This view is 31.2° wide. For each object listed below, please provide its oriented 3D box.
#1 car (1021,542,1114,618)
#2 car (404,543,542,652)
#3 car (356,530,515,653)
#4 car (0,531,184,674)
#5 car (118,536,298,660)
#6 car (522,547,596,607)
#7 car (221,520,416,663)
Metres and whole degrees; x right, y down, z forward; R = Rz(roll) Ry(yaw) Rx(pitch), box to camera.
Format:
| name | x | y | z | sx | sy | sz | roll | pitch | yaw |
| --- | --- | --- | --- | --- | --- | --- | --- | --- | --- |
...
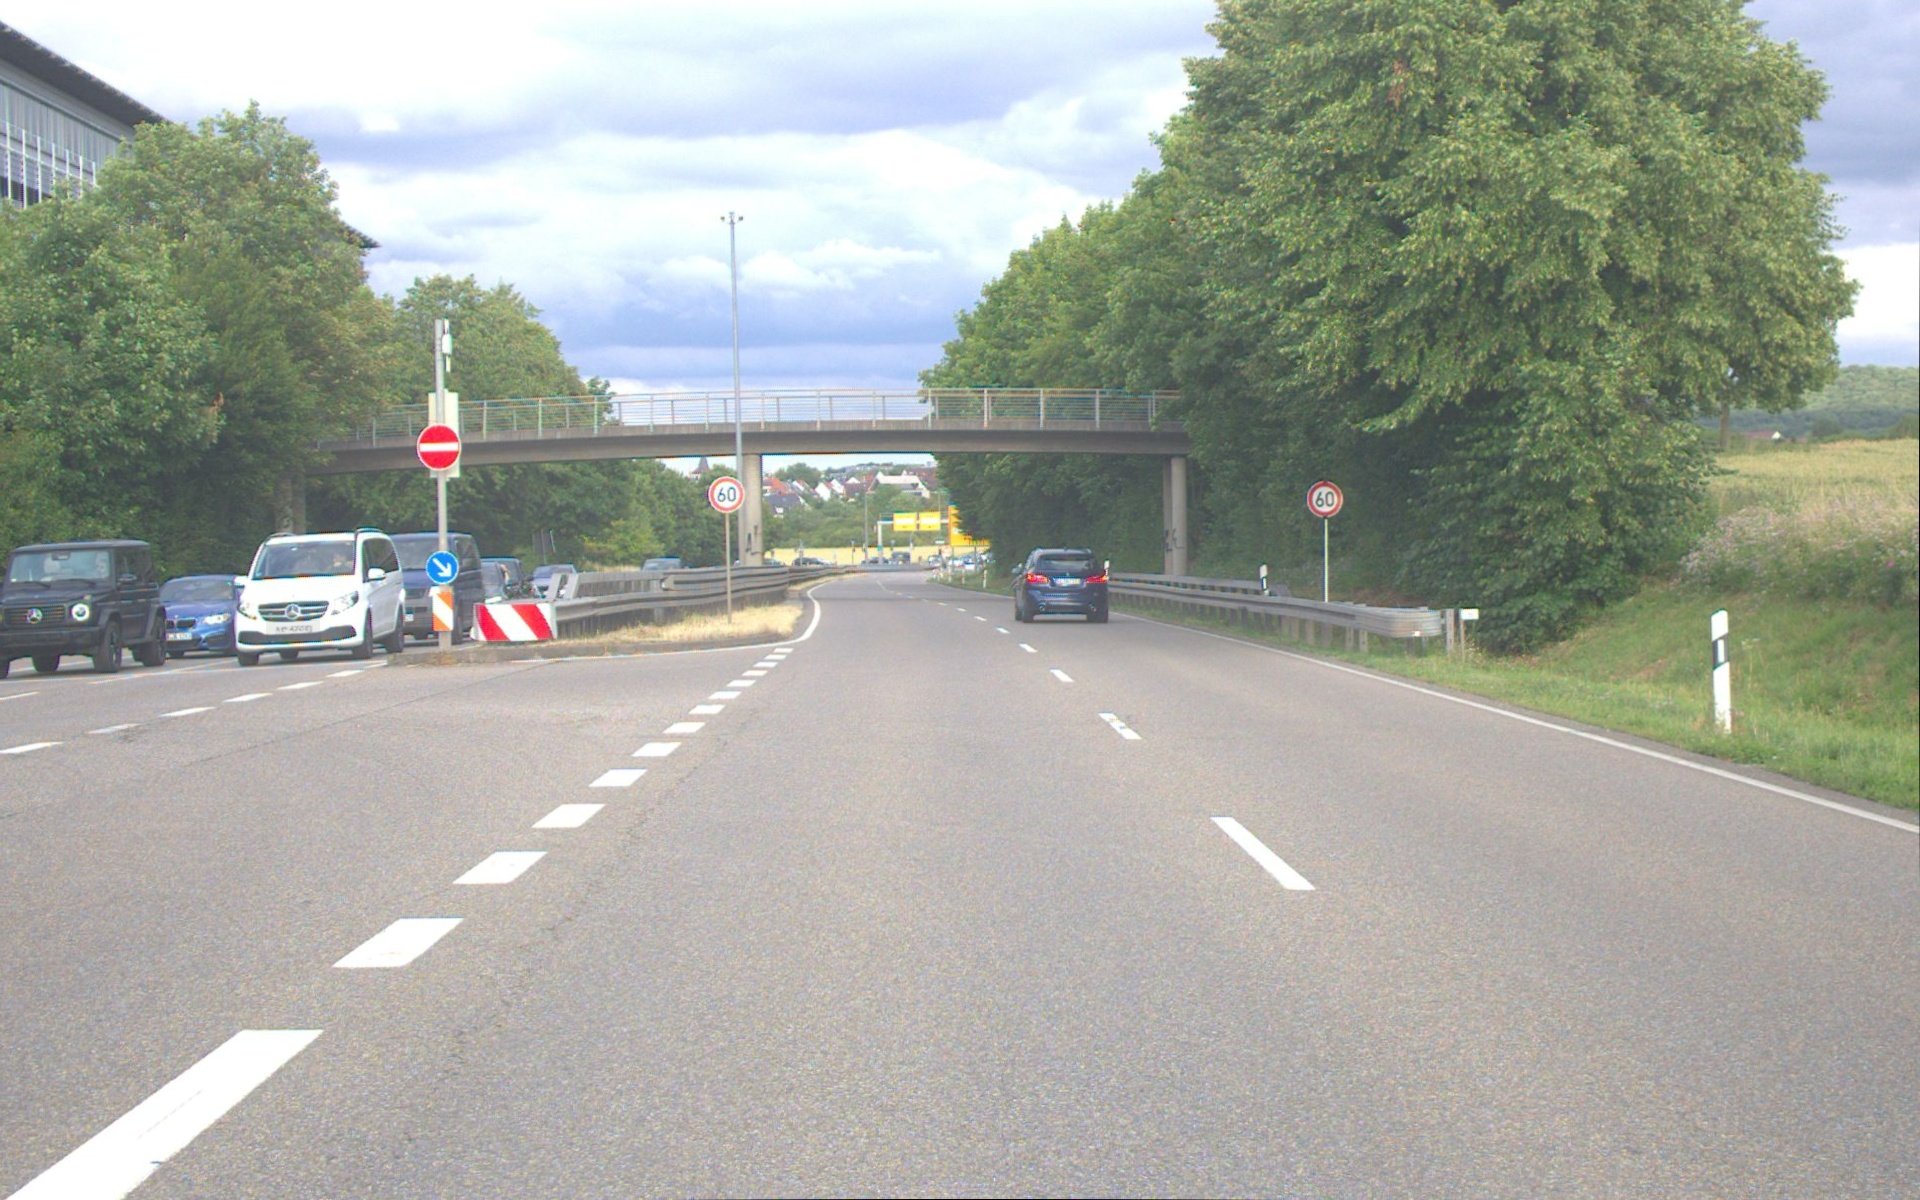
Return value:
| name | x | y | z | sx | sy | sz | roll | pitch | yaw |
| --- | --- | --- | --- | --- | --- | --- | --- | --- | --- |
| car | 2.254 | -0.432 | 72.736 | 1.880 | 1.547 | 4.000 | 1 | 1 | 1 |
| car | -9.421 | -0.081 | 66.921 | 2.083 | 2.007 | 5.217 | 1 | 1 | -2 |
| car | -8.992 | -0.168 | 59.354 | 2.083 | 2.007 | 5.217 | 1 | 1 | -2 |
| car | -13.195 | 0.006 | 51.503 | 2.083 | 2.007 | 5.217 | 1 | 1 | -2 |
| car | -12.835 | -0.060 | 59.004 | 2.083 | 2.007 | 5.217 | 1 | 1 | -2 |
| car | -13.910 | -0.793 | 119.467 | 2.083 | 2.007 | 5.217 | 1 | 1 | -2 |
| car | -9.561 | -0.145 | 51.616 | 2.083 | 2.007 | 5.217 | 1 | 1 | -2 |
